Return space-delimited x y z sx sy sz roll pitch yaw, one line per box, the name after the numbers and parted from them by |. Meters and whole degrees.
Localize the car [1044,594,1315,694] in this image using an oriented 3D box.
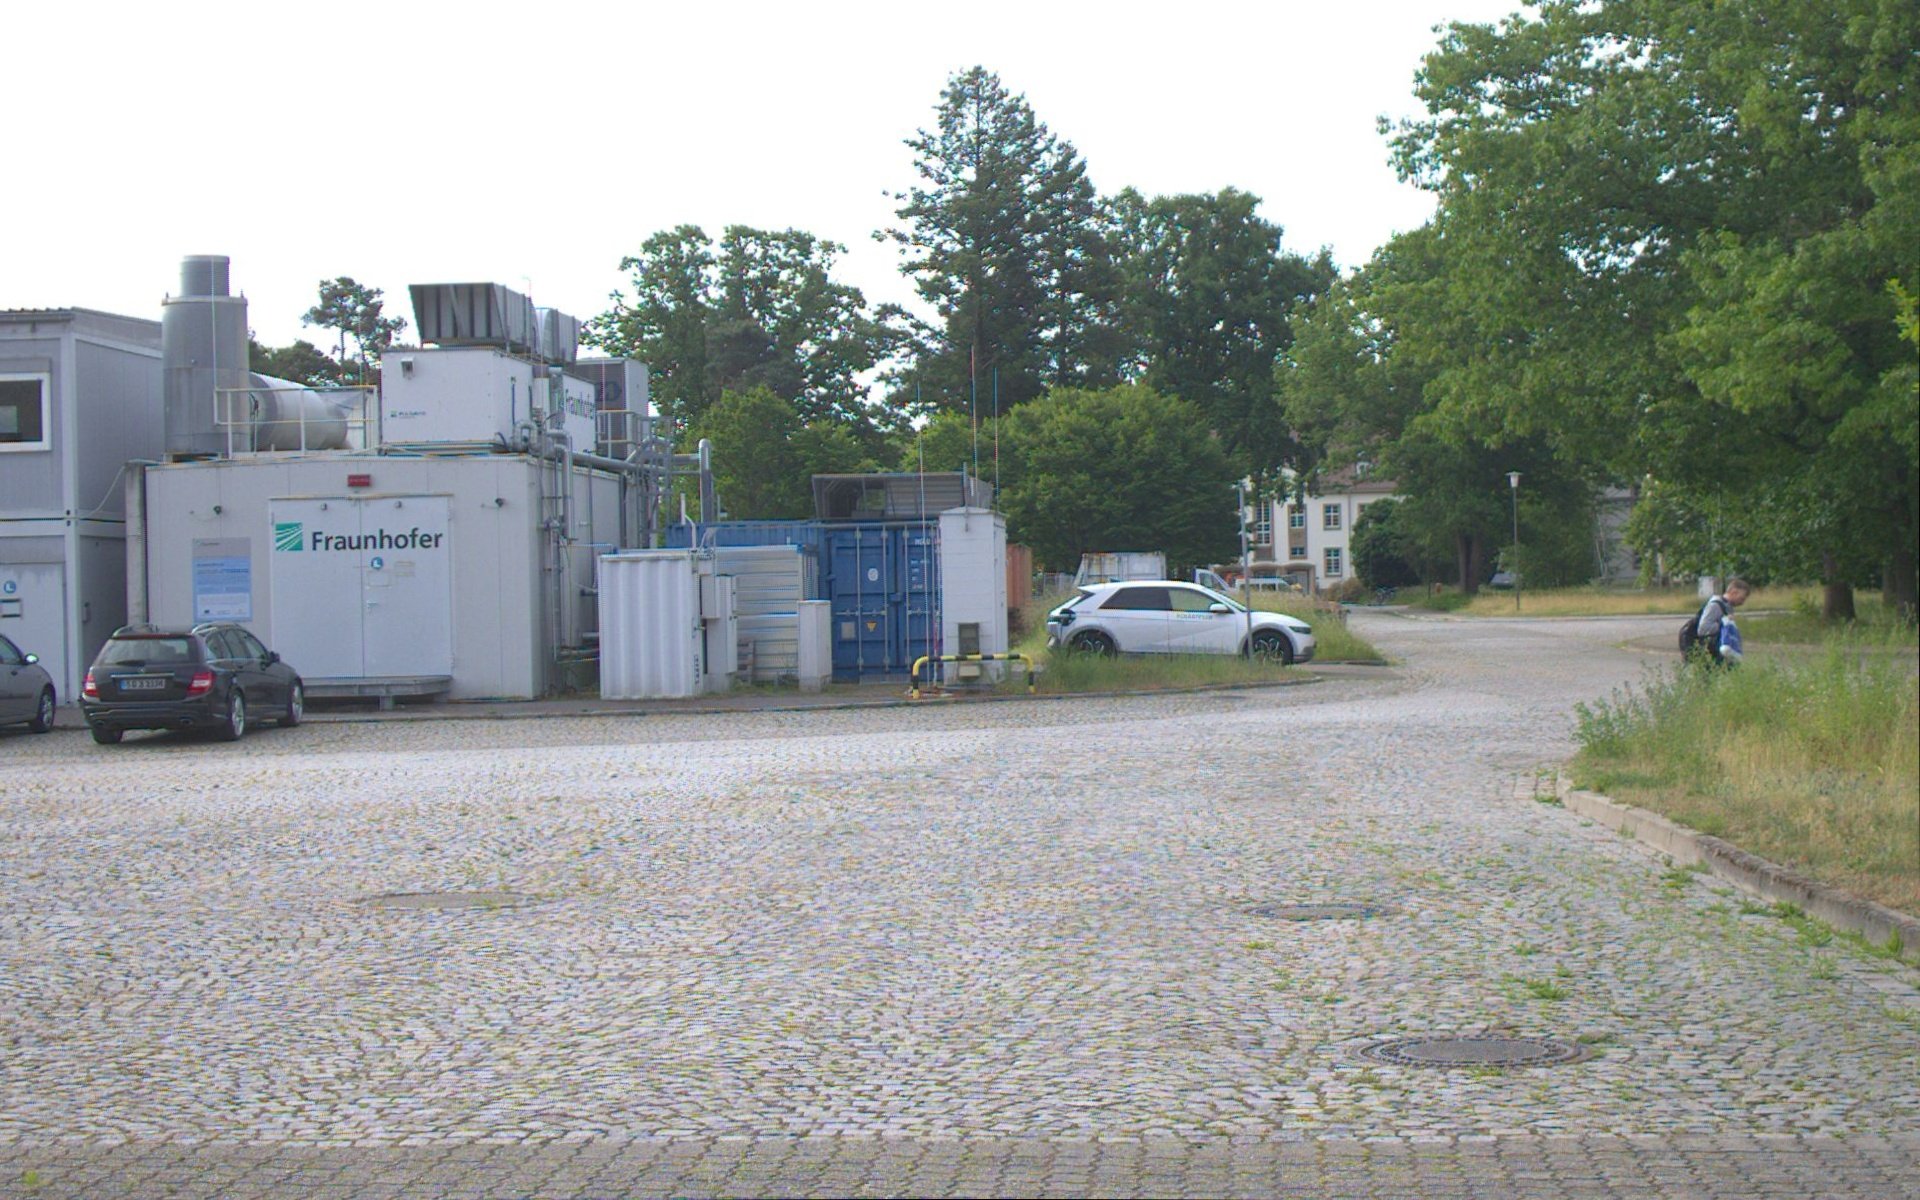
3.816 0.750 59.319 4.535 1.594 1.999 -1 0 7 | car

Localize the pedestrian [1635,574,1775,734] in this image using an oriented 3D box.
7.409 0.530 34.169 1.077 1.551 1.073 -1 0 28 | pedestrian

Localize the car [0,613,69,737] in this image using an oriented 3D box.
-12.857 0.967 43.605 1.906 1.471 4.047 -1 1 2 | car

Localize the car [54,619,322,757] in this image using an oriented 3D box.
-9.598 1.062 43.100 2.036 1.448 4.529 -1 1 4 | car

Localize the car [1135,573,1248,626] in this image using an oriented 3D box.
10.821 -0.022 160.656 5.171 2.329 2.000 -1 0 4 | car
